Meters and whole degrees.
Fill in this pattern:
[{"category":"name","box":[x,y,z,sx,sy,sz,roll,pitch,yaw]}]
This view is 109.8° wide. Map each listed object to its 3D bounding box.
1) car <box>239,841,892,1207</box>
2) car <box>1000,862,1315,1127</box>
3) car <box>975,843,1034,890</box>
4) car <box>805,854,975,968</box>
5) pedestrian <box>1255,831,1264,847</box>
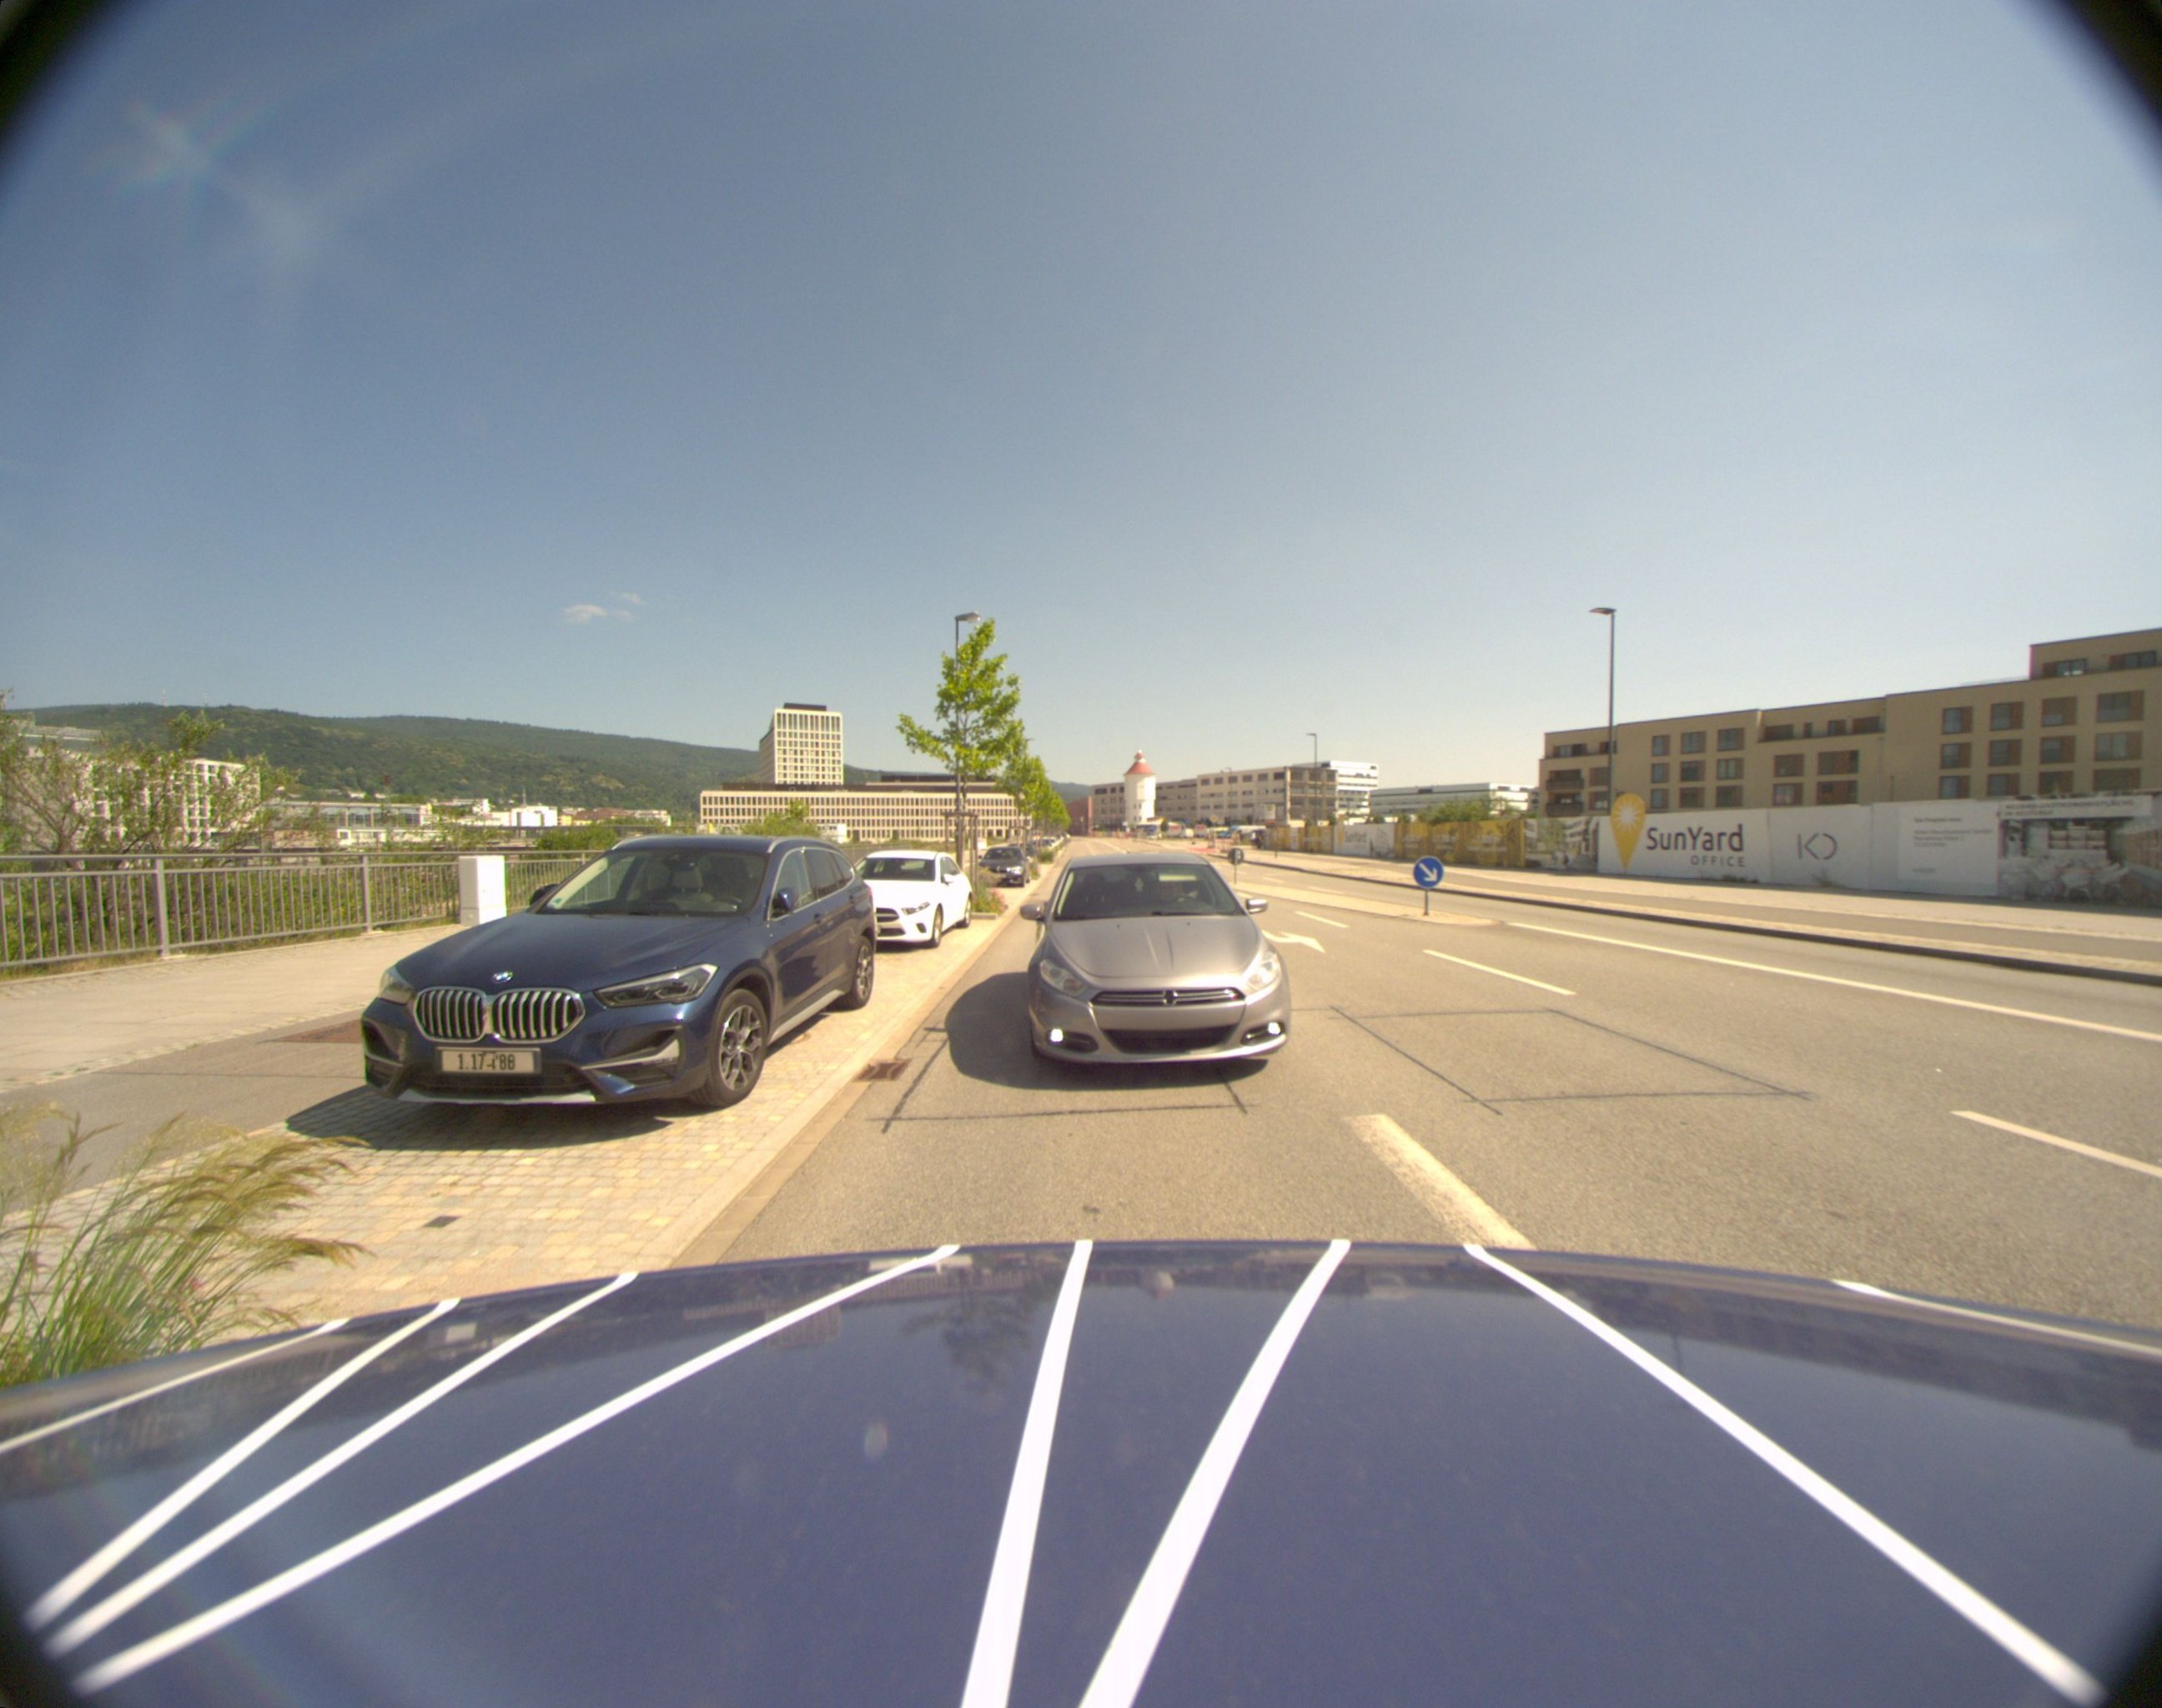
[{"category":"car","box":[-2.859,0.745,5.563,1.769,1.598,4.237,-2,1,1]},{"category":"car","box":[0.476,0.844,6.498,1.784,1.372,4.135,-2,1,1]},{"category":"car","box":[-2.728,0.406,28.039,1.664,1.530,3.999,-2,1,1]},{"category":"car","box":[-2.900,0.786,12.446,1.664,1.447,3.999,-2,1,1]},{"category":"pedestrian","box":[18.275,-1.546,77.745,0.705,1.577,0.617,-3,2,-36]}]
